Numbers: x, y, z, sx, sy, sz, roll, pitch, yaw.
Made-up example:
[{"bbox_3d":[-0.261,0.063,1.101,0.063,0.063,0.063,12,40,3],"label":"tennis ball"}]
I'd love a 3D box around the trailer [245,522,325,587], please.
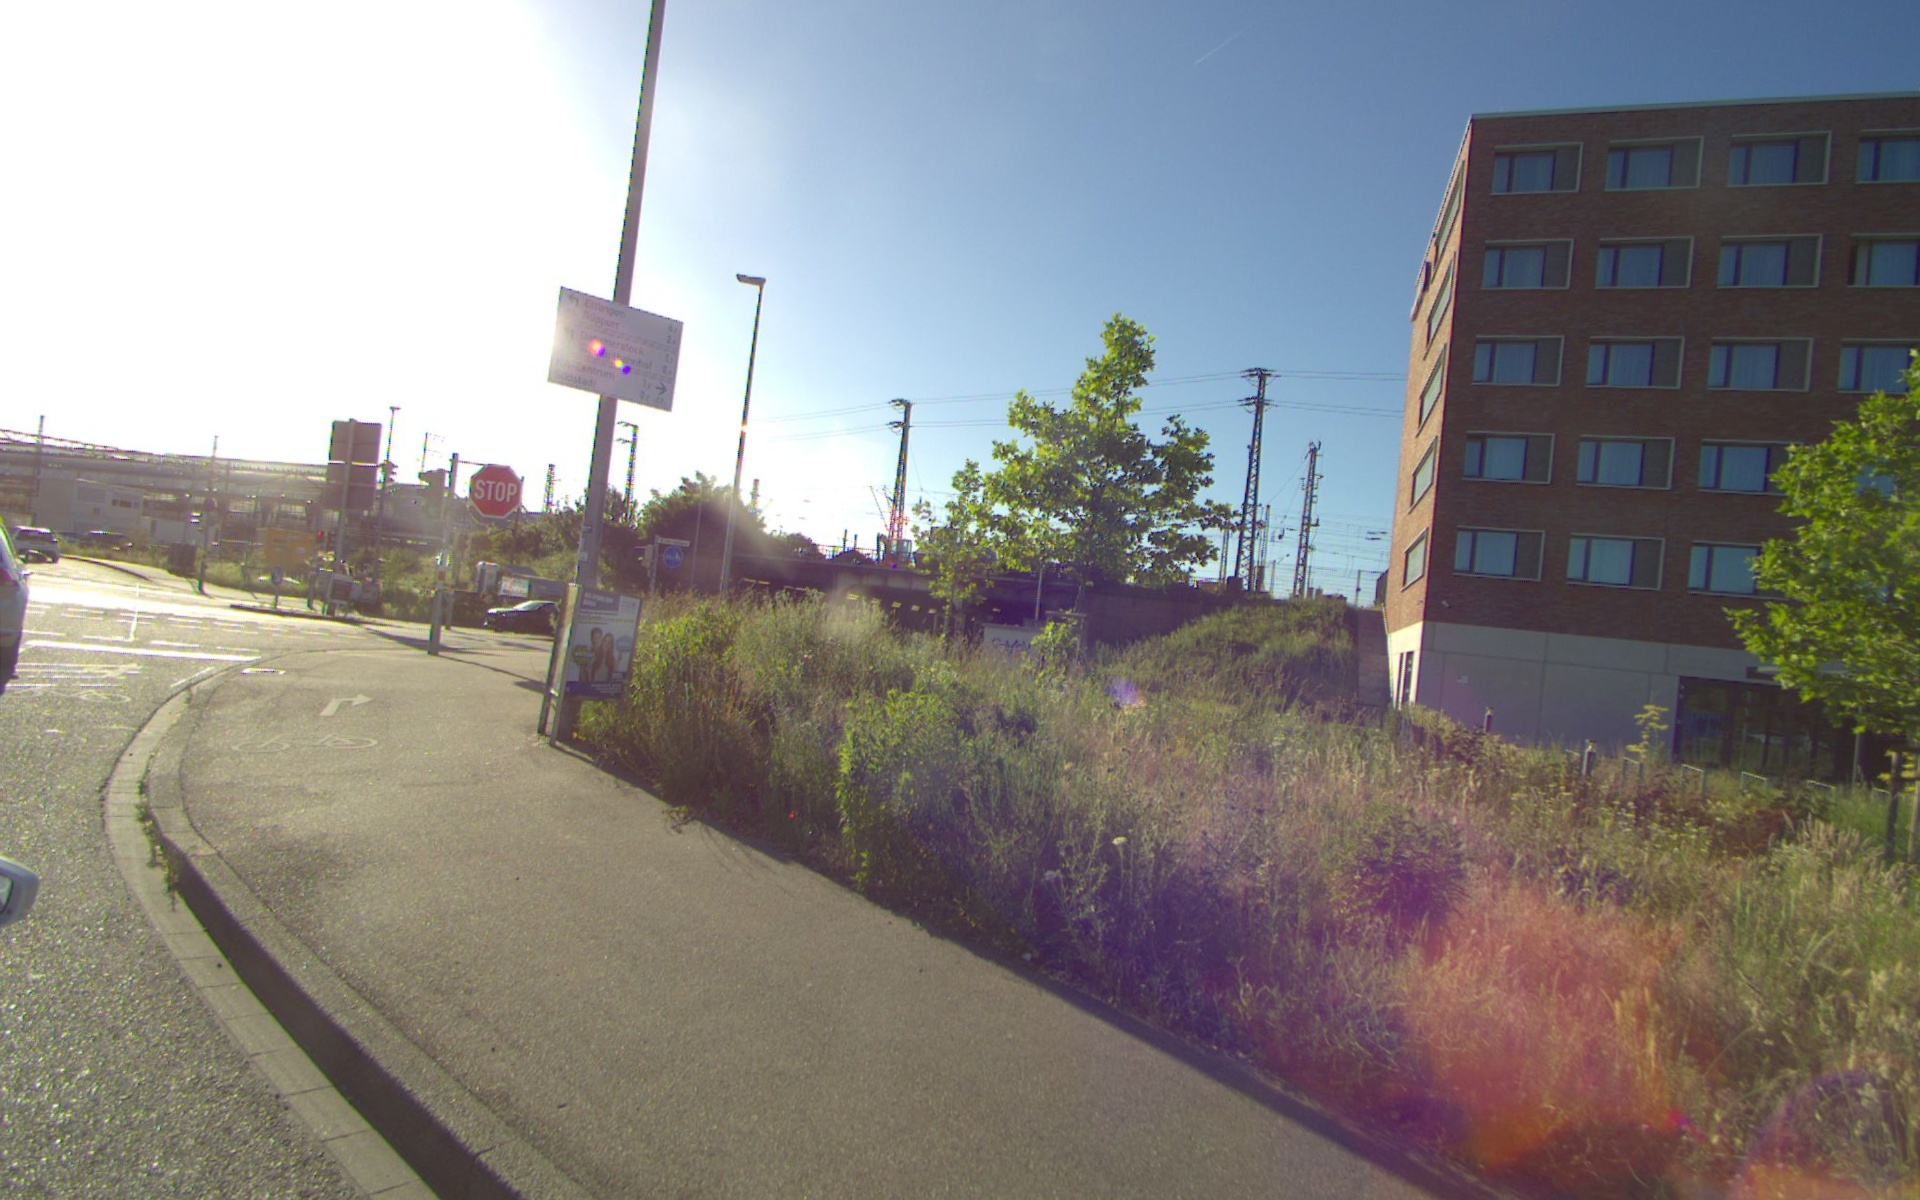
[{"bbox_3d":[-41.166,-2.738,61.262,2.986,3.328,6.595,9,-4,-40],"label":"trailer"}]

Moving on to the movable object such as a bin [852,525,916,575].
[{"bbox_3d":[-4.598,-3.038,61.898,1.963,2.250,4.837,6,-3,19],"label":"movable object such as a bin"}]

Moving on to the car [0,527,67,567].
[{"bbox_3d":[-43.970,-2.520,47.709,3.943,1.493,1.747,5,-3,40],"label":"car"}]

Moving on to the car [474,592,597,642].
[{"bbox_3d":[-17.899,0.765,42.596,1.925,1.534,4.382,5,-4,32],"label":"car"}]

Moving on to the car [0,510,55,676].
[{"bbox_3d":[-10.281,-0.261,9.795,1.964,1.443,3.892,9,-3,-41],"label":"car"}]

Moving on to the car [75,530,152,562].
[{"bbox_3d":[-64.198,-4.054,76.345,1.588,1.724,4.000,6,-4,28],"label":"car"}]

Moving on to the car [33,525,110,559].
[{"bbox_3d":[-68.093,-4.428,77.148,1.627,1.807,4.000,6,-4,28],"label":"car"}]
